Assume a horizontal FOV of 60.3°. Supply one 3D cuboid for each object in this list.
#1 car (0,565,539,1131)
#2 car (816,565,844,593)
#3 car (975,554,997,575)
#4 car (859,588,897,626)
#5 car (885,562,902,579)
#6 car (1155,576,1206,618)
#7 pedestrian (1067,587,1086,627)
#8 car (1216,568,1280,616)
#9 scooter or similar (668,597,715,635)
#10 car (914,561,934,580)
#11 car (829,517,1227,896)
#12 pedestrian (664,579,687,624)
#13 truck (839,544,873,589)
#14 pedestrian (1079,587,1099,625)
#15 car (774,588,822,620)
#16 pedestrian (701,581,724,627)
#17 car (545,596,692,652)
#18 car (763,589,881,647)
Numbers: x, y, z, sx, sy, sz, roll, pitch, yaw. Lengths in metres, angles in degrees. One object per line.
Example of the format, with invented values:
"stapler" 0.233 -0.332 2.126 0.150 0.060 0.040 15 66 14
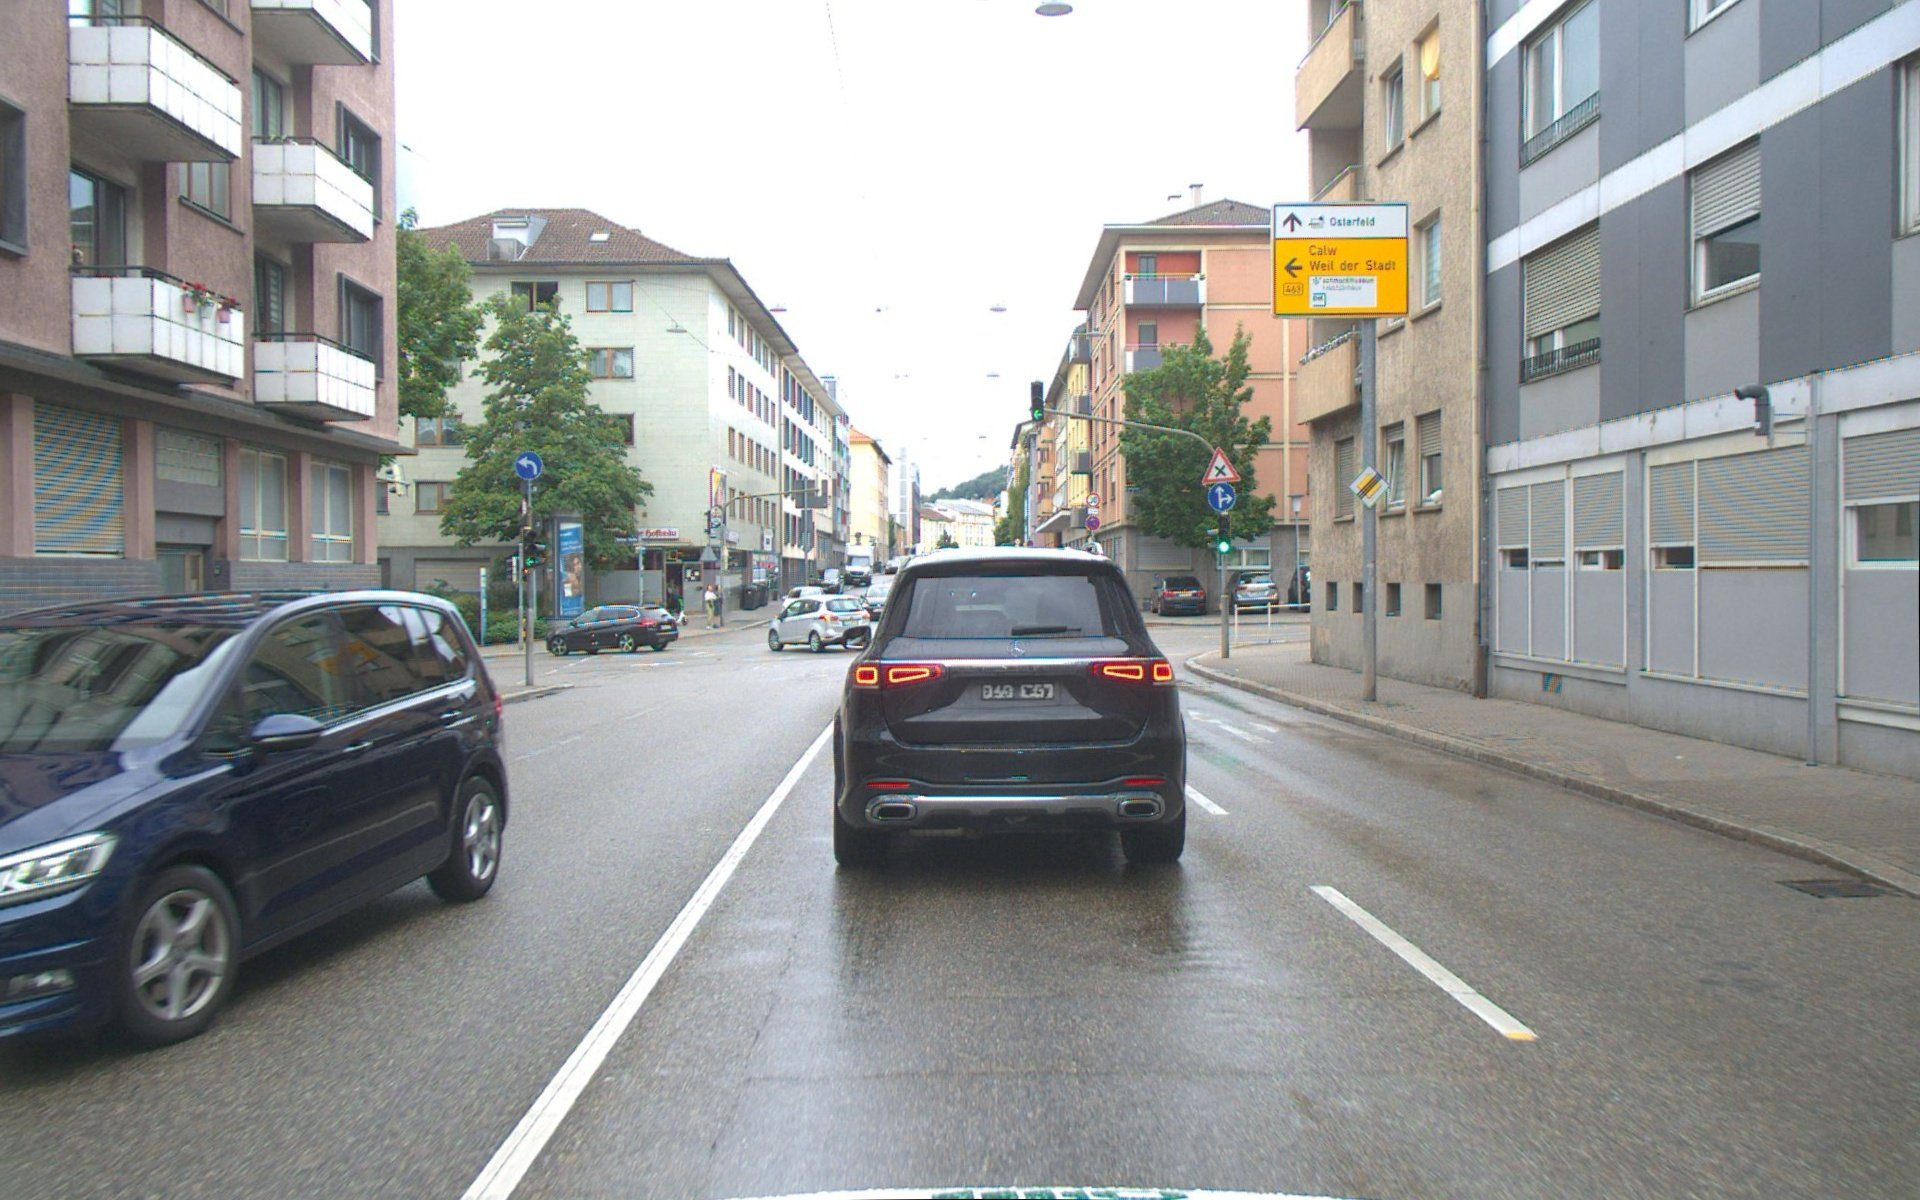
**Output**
"car" -3.414 0.735 7.151 1.735 1.674 4.414 -2 1 4
"car" -8.032 -1.283 102.184 1.586 1.566 4.215 -2 -1 -3
"car" 2.448 -3.351 156.261 1.689 1.790 4.215 -2 0 -3
"car" -3.558 0.340 71.808 1.586 1.566 4.215 -2 -1 -3
"car" -6.616 -2.916 164.282 1.586 1.566 4.215 -2 -1 -3
"car" 8.679 -0.117 65.399 1.636 1.616 3.331 -1 0 1
"pedestrian" 5.919 0.354 84.021 0.904 2.049 0.706 -1 0 -3
"car" 11.351 -0.294 65.418 1.786 1.826 3.830 -1 0 -2
"scooter or similar" -10.877 0.647 67.007 0.859 1.485 1.851 -1 0 32
"car" -3.272 -2.643 150.126 1.586 1.566 4.215 -2 -1 -3
"car" 0.318 0.575 10.582 1.944 1.836 4.388 2 -1 -1
"pedestrian" -12.436 0.058 72.321 0.904 1.935 0.706 -1 0 -3
"truck" -7.951 -2.508 127.614 2.430 3.099 9.913 -2 -1 -3
"pedestrian" 6.272 0.287 80.447 0.904 1.836 0.706 -1 0 -3
"car" -6.956 0.205 71.492 1.847 1.286 4.215 -2 -1 -3
"pedestrian" -9.702 0.149 64.890 0.622 1.795 0.774 -1 0 16
"car" -10.734 0.750 51.973 4.259 1.566 1.777 -2 1 26
"car" -4.018 0.528 47.770 1.758 1.566 3.716 -1 -1 -35
